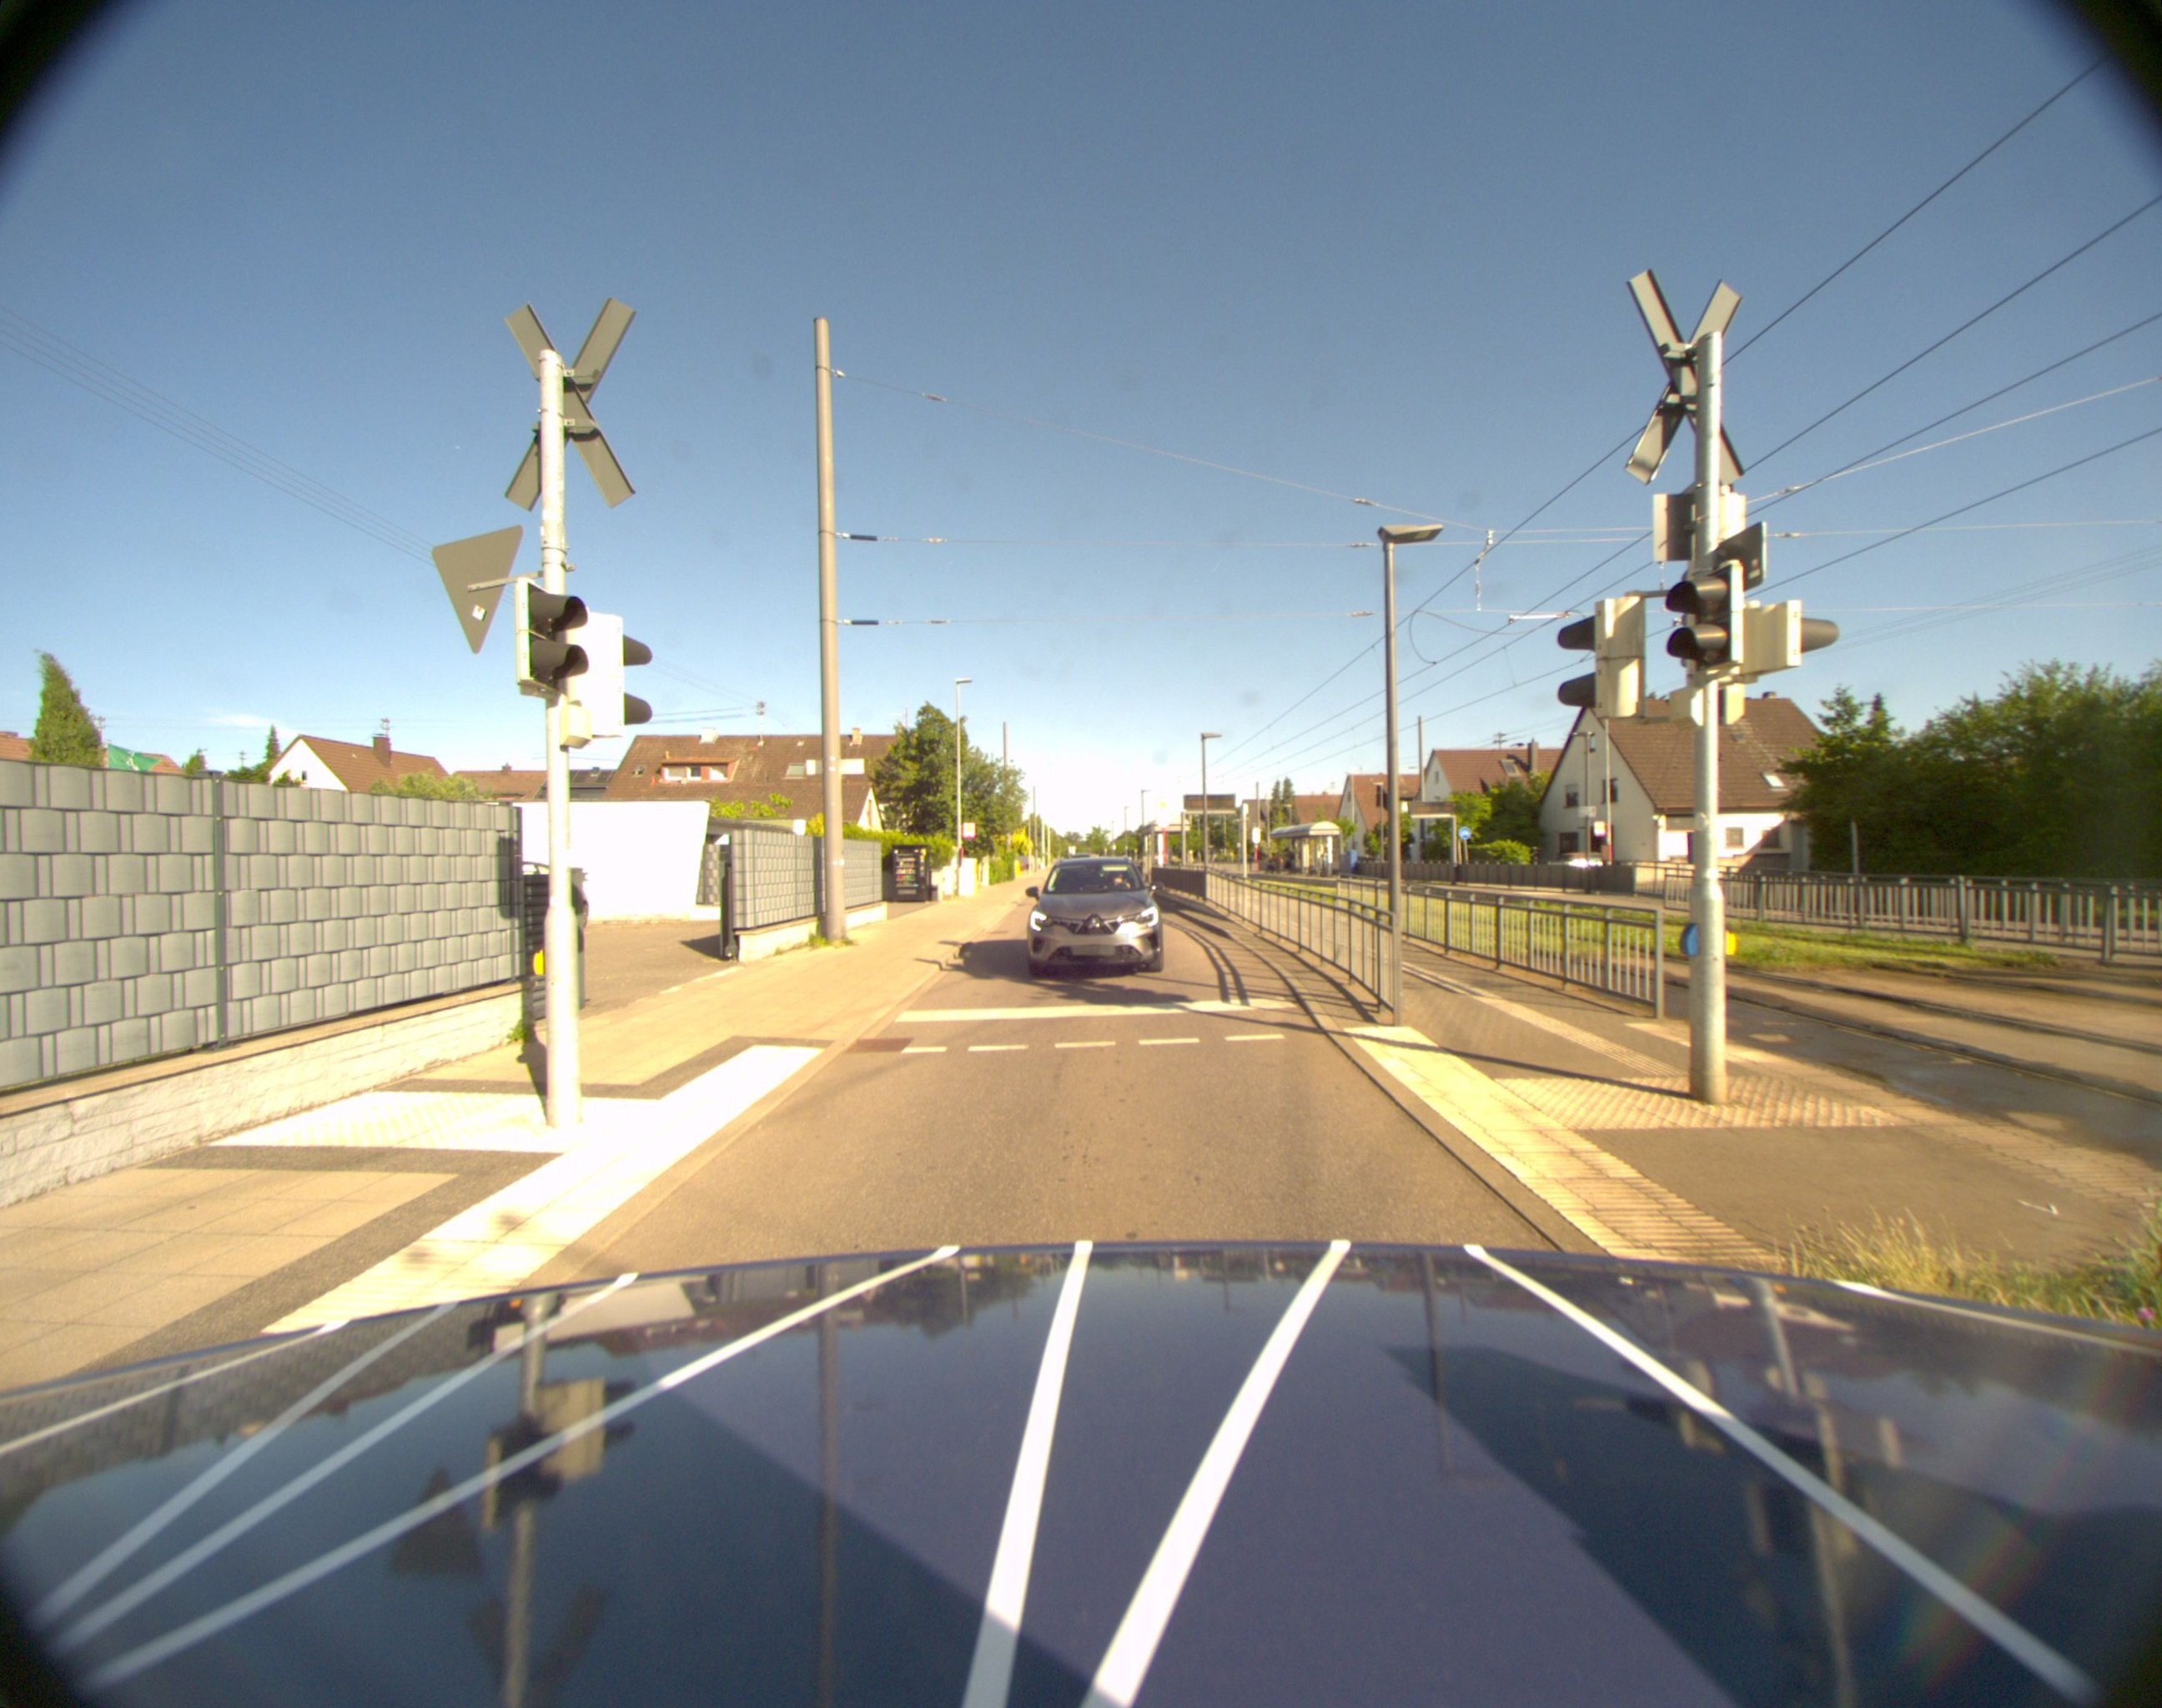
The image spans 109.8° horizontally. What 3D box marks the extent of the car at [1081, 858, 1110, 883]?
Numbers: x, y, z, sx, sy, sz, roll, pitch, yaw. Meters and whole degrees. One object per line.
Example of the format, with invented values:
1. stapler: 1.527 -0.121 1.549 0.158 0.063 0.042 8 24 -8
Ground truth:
1. car: 0.912 0.993 47.058 1.687 1.379 4.000 -2 0 1

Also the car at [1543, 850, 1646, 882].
1. car: 26.444 0.592 39.190 3.989 1.526 2.000 -1 0 -3

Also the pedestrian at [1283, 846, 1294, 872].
1. pedestrian: 13.569 0.327 49.700 0.534 1.742 0.543 -1 0 0

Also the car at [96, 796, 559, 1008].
1. car: -9.967 0.560 10.180 4.983 2.418 2.002 -1 2 14

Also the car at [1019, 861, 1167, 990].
1. car: 0.110 0.928 11.675 1.830 1.570 4.000 -2 0 -1

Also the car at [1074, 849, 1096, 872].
1. car: 0.410 0.694 78.843 2.089 2.226 4.722 -2 0 1

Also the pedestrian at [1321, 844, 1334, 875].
1. pedestrian: 13.773 0.308 42.477 0.622 1.742 0.442 -1 0 20
